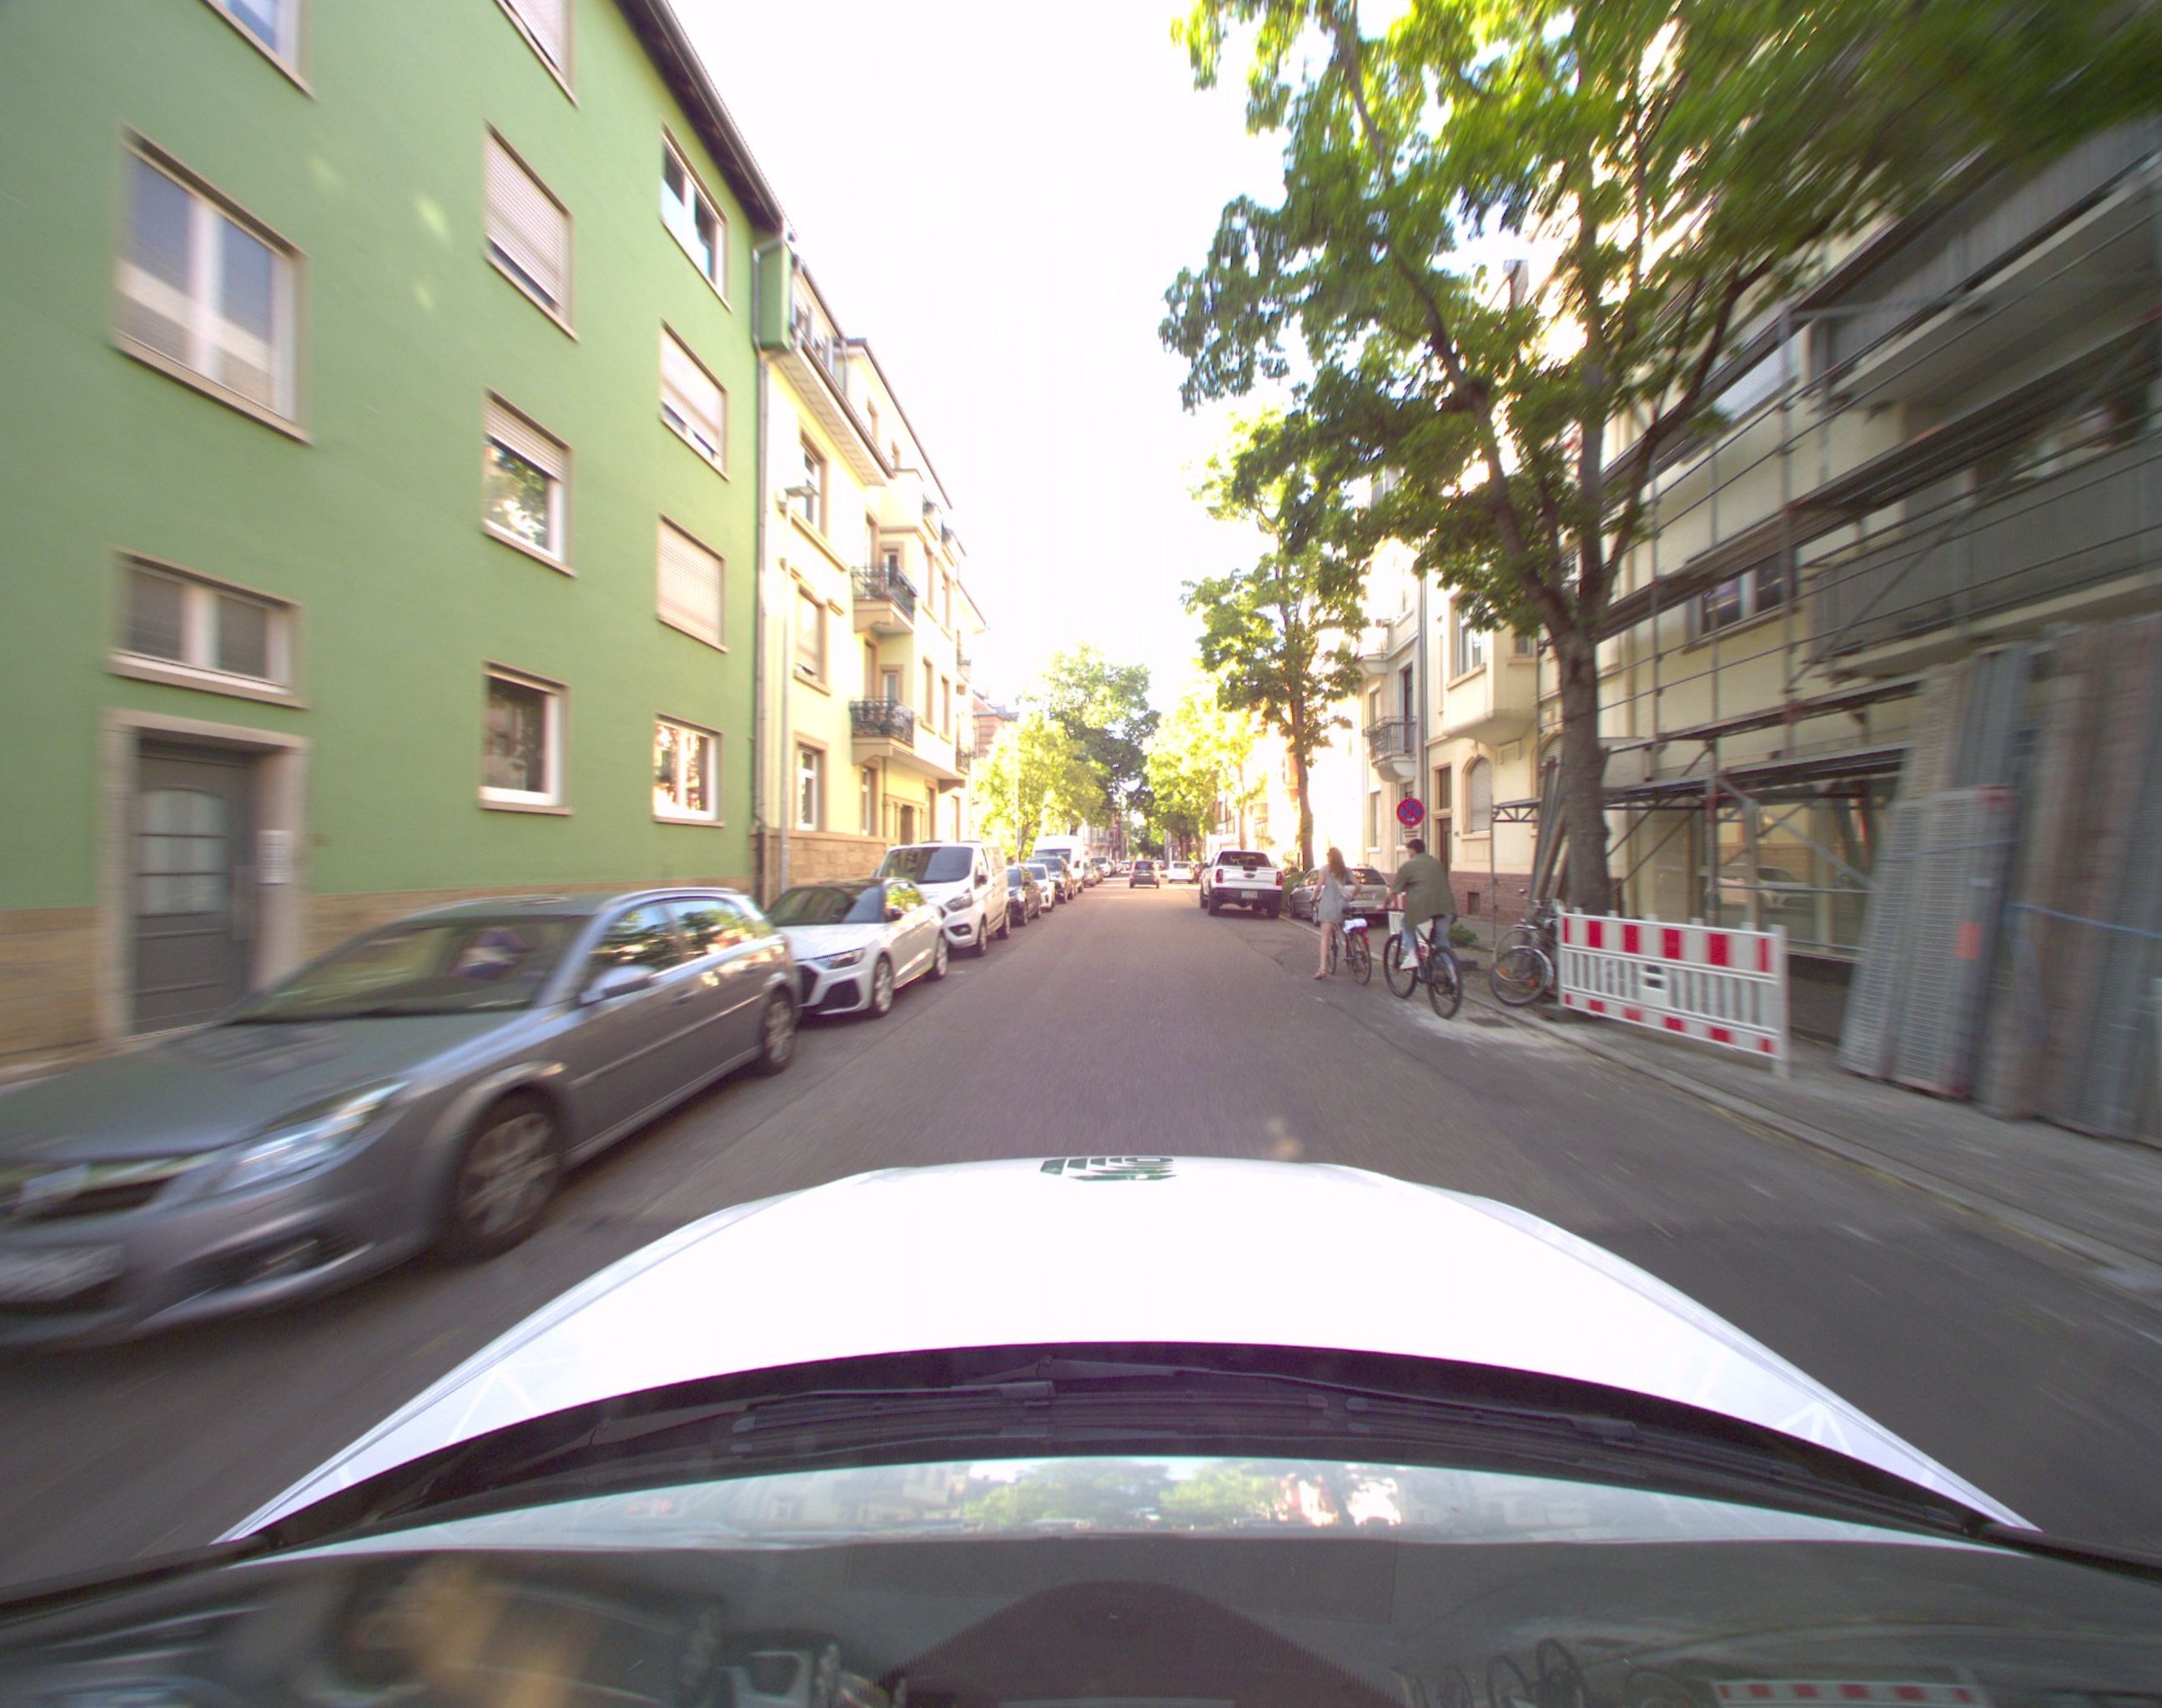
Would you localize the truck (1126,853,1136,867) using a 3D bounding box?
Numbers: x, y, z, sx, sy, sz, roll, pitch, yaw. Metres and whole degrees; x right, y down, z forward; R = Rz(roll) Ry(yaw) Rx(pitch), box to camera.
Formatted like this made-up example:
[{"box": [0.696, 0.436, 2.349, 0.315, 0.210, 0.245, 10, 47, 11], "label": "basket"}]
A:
[{"box": [11.042, 1.324, 179.608, 2.060, 2.926, 5.075, -4, -1, 5], "label": "truck"}]

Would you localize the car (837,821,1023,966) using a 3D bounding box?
[{"box": [-2.558, 0.645, 15.351, 2.243, 2.168, 5.246, -3, -1, 2], "label": "car"}]

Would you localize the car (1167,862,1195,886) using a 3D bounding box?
[{"box": [6.820, 1.326, 55.742, 1.672, 1.544, 3.803, 1, 0, 3], "label": "car"}]

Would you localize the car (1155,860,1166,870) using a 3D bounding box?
[{"box": [12.591, 1.721, 128.751, 1.655, 1.505, 3.762, 1, 0, 5], "label": "car"}]

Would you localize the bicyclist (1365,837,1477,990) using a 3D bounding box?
[{"box": [3.672, 0.616, 8.862, 0.754, 1.565, 0.980, 1, -1, -3], "label": "bicyclist"}]

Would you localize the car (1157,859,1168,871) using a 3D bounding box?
[{"box": [12.411, 1.677, 124.255, 1.655, 1.669, 3.762, 1, 0, 5], "label": "car"}]

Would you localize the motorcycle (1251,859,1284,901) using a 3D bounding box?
[{"box": [6.818, 0.927, 29.851, 0.925, 1.486, 2.141, 0, 0, 5], "label": "motorcycle"}]

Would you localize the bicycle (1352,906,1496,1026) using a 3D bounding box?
[{"box": [3.649, 1.151, 8.843, 0.737, 1.060, 1.856, 1, -1, -2], "label": "bicycle"}]

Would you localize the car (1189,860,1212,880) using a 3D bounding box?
[{"box": [9.535, 1.245, 65.144, 1.589, 1.488, 3.752, -1, -1, 4], "label": "car"}]

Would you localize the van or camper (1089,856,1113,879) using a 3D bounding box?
[{"box": [1.861, 1.233, 74.781, 1.913, 1.980, 5.466, -3, -1, 3], "label": "van or camper"}]

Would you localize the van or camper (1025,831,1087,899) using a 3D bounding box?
[{"box": [-1.024, 0.467, 36.972, 2.119, 2.769, 5.858, -2, -1, 4], "label": "van or camper"}]

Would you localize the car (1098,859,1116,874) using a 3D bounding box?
[{"box": [2.930, 1.370, 90.582, 1.818, 1.554, 4.135, -4, -1, 2], "label": "car"}]

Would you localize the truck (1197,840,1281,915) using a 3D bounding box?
[{"box": [4.537, 0.633, 24.136, 1.820, 1.949, 5.547, 0, 0, 4], "label": "truck"}]

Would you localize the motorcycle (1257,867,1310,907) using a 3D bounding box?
[{"box": [6.612, 1.059, 26.587, 1.772, 1.240, 0.695, 1, -1, -35], "label": "motorcycle"}]

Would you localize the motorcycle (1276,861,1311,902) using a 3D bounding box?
[{"box": [7.758, 0.981, 29.818, 0.857, 1.416, 2.237, 1, 0, 5], "label": "motorcycle"}]

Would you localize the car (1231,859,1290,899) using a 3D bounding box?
[{"box": [7.284, 0.972, 33.407, 1.742, 1.529, 4.788, -1, -1, 5], "label": "car"}]

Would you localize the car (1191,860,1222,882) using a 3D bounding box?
[{"box": [9.028, 1.177, 58.936, 1.779, 1.514, 4.464, 1, 0, 3], "label": "car"}]

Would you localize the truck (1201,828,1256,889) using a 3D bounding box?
[{"box": [7.897, 0.231, 44.157, 2.065, 2.969, 6.114, -3, 0, 3], "label": "truck"}]

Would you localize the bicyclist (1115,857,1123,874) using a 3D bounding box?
[{"box": [3.440, 1.049, 73.443, 0.649, 1.509, 0.625, 0, -1, 1], "label": "bicyclist"}]

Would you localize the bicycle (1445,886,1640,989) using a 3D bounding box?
[{"box": [5.595, 0.987, 10.000, 1.962, 1.121, 0.750, 0, 0, 14], "label": "bicycle"}]

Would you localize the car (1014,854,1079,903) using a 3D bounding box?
[{"box": [-1.231, 0.875, 31.194, 1.867, 1.685, 4.974, -2, 0, 4], "label": "car"}]

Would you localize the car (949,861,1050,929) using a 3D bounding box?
[{"box": [-1.997, 0.976, 21.383, 1.758, 1.521, 4.830, -1, 0, 4], "label": "car"}]

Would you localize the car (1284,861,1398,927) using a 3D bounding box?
[{"box": [6.340, 0.914, 20.340, 1.673, 1.422, 4.434, -1, 0, 4], "label": "car"}]

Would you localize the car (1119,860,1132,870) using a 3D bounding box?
[{"box": [6.991, 1.715, 127.079, 1.788, 1.432, 3.930, -3, -1, 5], "label": "car"}]

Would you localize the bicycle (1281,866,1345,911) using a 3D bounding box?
[{"box": [6.904, 1.020, 24.246, 1.752, 1.305, 0.586, 0, -1, 2], "label": "bicycle"}]

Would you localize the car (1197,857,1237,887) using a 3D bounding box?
[{"box": [8.404, 1.085, 50.547, 1.877, 1.716, 4.947, 0, 0, 3], "label": "car"}]

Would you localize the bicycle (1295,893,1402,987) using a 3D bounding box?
[{"box": [3.532, 1.109, 10.944, 0.704, 1.045, 1.856, 3, -1, -3], "label": "bicycle"}]

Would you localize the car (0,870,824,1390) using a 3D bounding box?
[{"box": [-3.133, 0.886, 4.688, 1.713, 1.462, 4.508, -3, -1, 1], "label": "car"}]

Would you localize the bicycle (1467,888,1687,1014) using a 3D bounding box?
[{"box": [5.165, 0.954, 8.572, 1.904, 1.121, 0.752, 0, 0, 34], "label": "bicycle"}]

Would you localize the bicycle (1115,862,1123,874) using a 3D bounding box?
[{"box": [3.434, 1.267, 73.404, 0.662, 1.077, 1.686, 0, 0, 2], "label": "bicycle"}]

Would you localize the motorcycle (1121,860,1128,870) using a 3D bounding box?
[{"box": [6.600, 1.671, 123.796, 0.695, 1.461, 1.748, -1, -1, -5], "label": "motorcycle"}]

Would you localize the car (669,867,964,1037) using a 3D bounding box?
[{"box": [-2.767, 0.947, 9.705, 1.825, 1.462, 4.366, -3, -1, 3], "label": "car"}]

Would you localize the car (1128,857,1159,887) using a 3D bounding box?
[{"box": [3.367, 0.938, 44.099, 1.625, 1.550, 3.268, 0, 0, 4], "label": "car"}]

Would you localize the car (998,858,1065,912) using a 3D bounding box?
[{"box": [-1.512, 0.949, 26.124, 1.628, 1.552, 4.092, -1, -1, 3], "label": "car"}]

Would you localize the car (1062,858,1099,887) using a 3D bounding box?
[{"box": [0.018, 1.044, 47.780, 1.772, 1.591, 4.473, -2, -1, 4], "label": "car"}]

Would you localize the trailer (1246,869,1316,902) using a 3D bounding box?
[{"box": [6.829, 1.066, 27.925, 2.080, 1.112, 1.112, 0, 0, -10], "label": "trailer"}]

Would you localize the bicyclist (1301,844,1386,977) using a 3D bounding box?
[{"box": [3.519, 0.727, 10.976, 0.713, 1.689, 0.980, 3, -1, -5], "label": "bicyclist"}]

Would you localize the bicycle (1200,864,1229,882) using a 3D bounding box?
[{"box": [8.898, 1.267, 54.386, 1.803, 1.167, 0.570, -2, -1, 3], "label": "bicycle"}]

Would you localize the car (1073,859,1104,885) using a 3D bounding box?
[{"box": [0.531, 1.157, 53.971, 1.668, 1.572, 4.157, -3, 0, 5], "label": "car"}]
